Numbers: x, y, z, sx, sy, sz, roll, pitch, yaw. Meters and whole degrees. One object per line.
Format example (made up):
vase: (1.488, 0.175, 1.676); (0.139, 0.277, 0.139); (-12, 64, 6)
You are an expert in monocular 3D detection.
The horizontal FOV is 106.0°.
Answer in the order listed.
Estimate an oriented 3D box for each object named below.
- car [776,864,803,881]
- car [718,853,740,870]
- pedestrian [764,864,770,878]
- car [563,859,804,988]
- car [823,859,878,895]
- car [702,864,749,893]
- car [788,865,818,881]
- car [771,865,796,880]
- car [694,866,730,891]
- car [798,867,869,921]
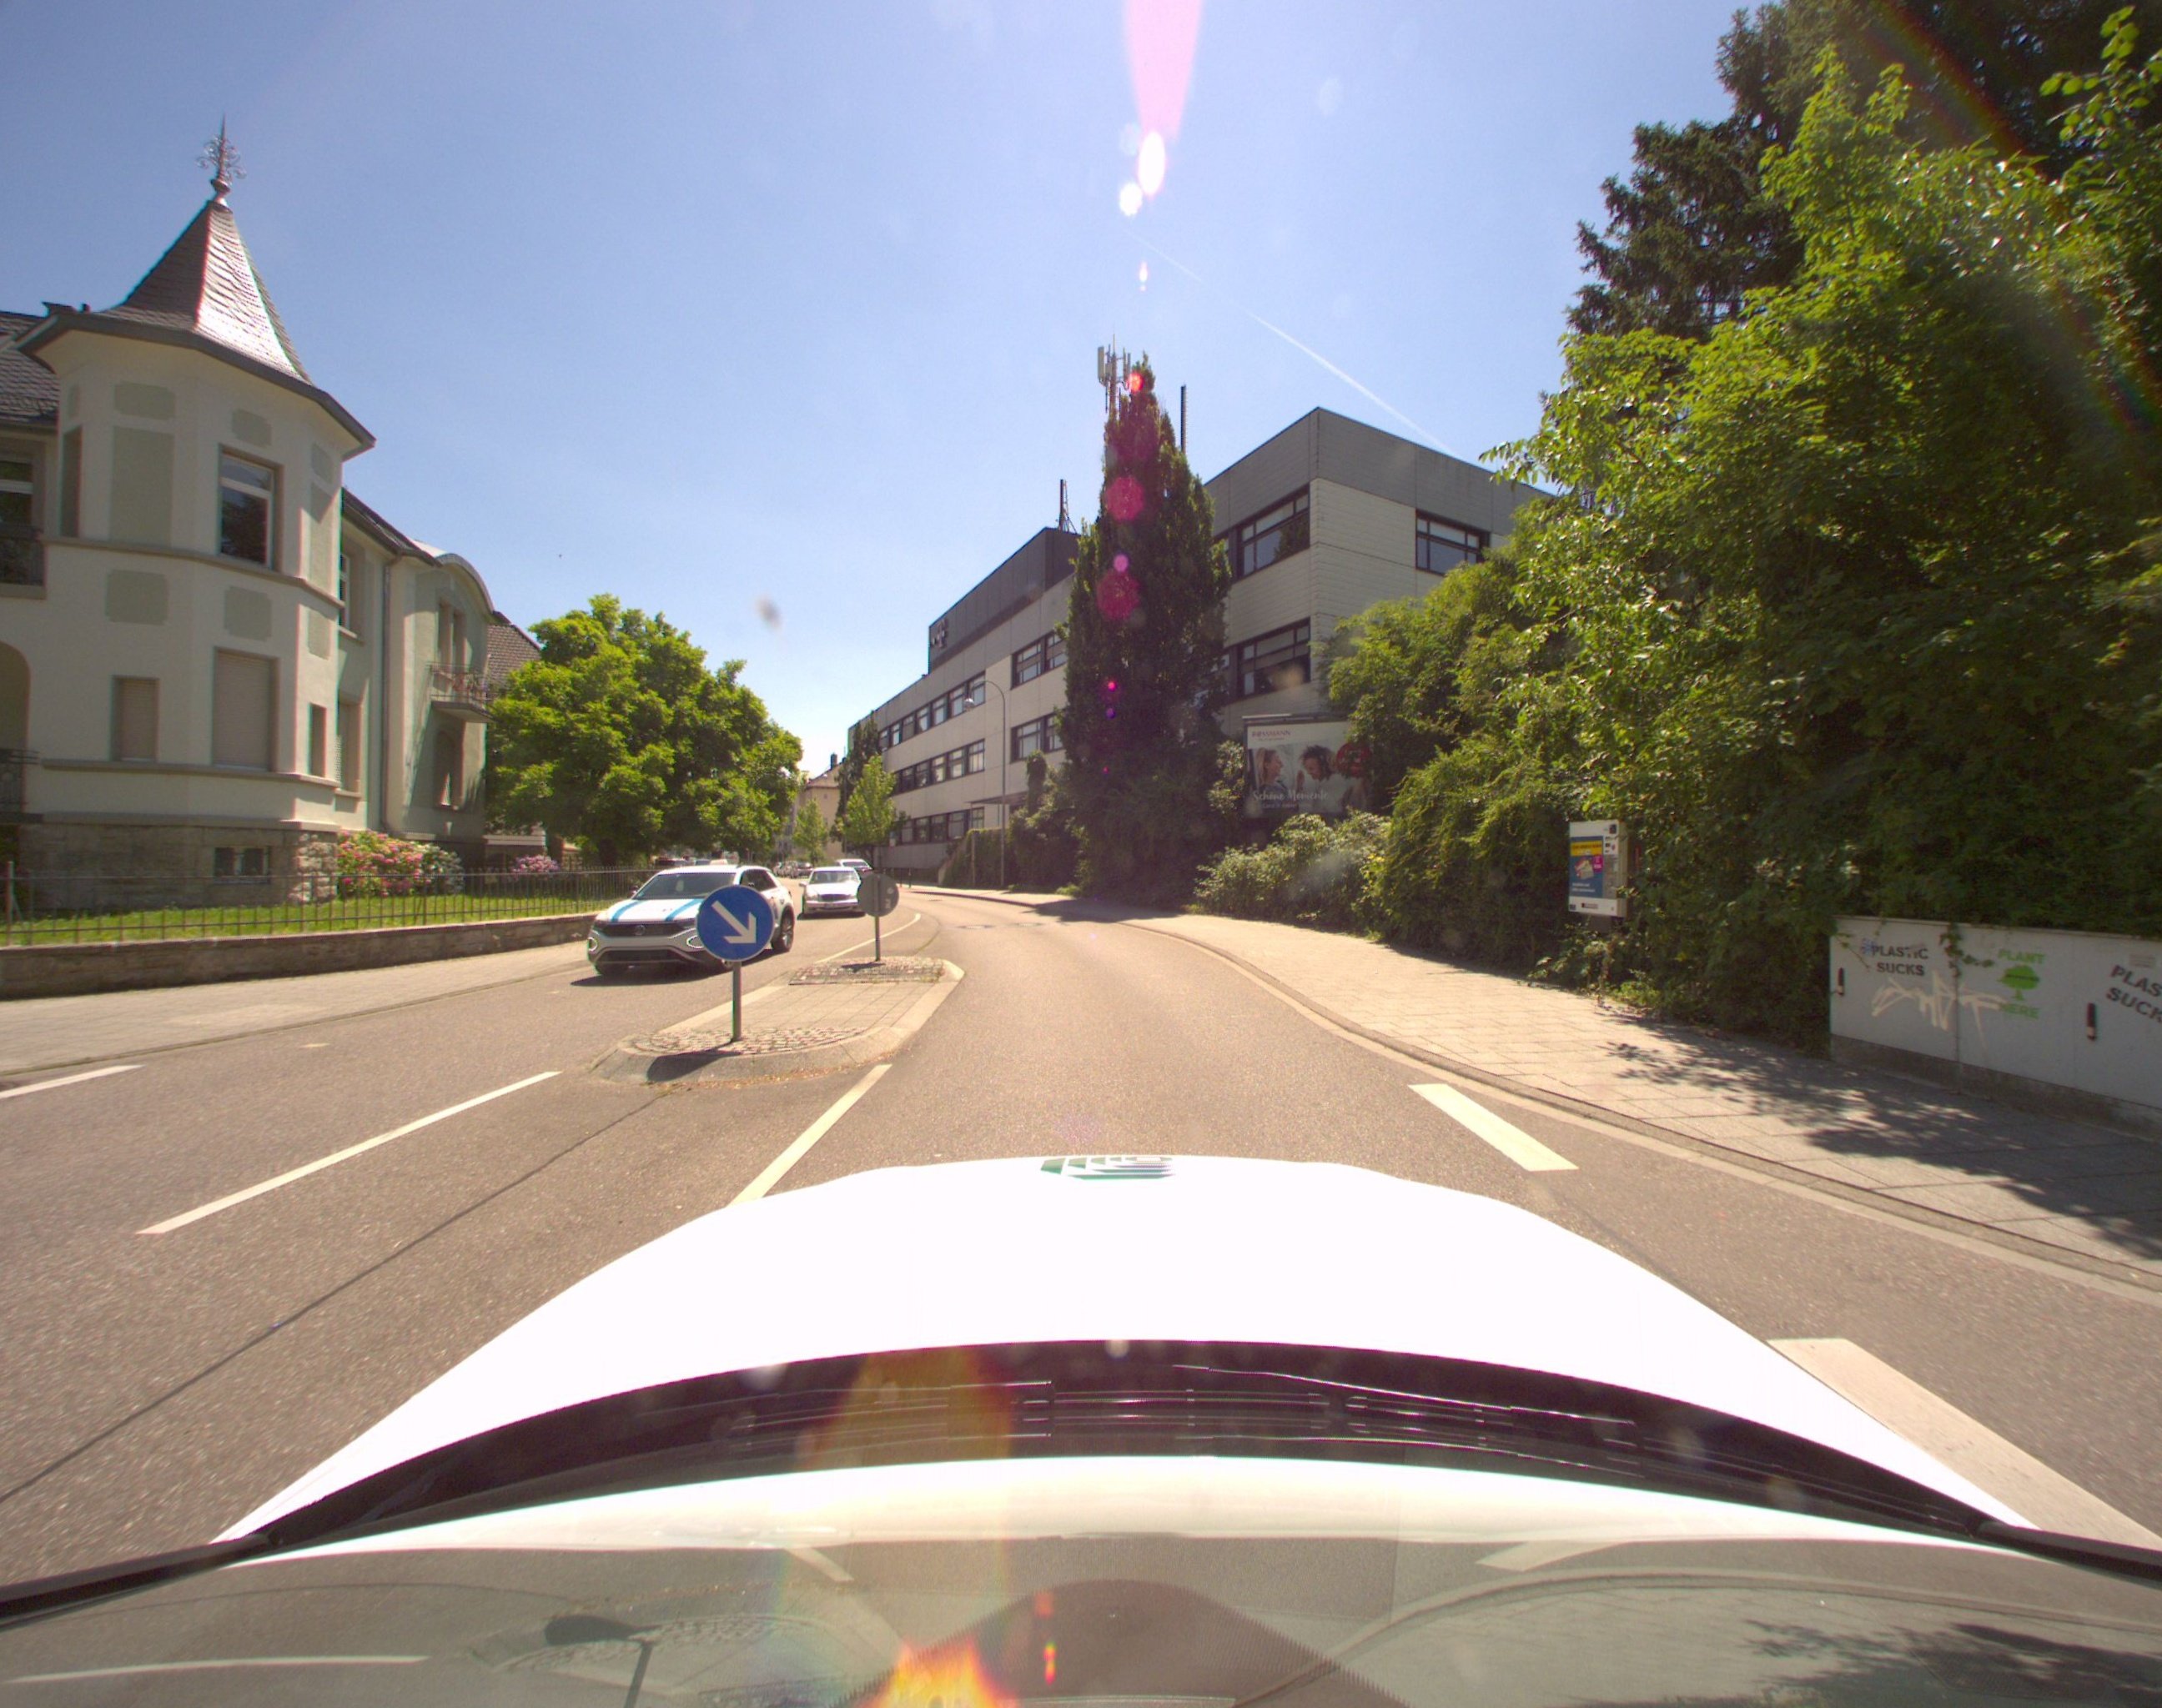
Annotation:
car: (-27.970, 1.746, 78.081); (1.669, 1.488, 4.305); (-1, 0, -29)
car: (-45.398, 0.974, 105.017); (2.083, 2.197, 5.089); (-2, 0, -30)
pedestrian: (-38.970, 2.074, 101.064); (0.642, 1.758, 0.610); (0, -1, -33)
car: (-5.955, 0.920, 12.881); (1.868, 1.623, 4.299); (0, 1, -3)
car: (-12.262, 1.183, 43.119); (1.947, 1.614, 4.433); (-6, 2, -26)
car: (-19.218, 1.299, 43.879); (1.936, 1.437, 4.616); (3, -2, -28)
car: (-24.949, 1.662, 73.029); (1.873, 1.373, 3.963); (0, -1, -29)
car: (-30.085, 1.845, 82.293); (1.736, 1.383, 4.360); (-1, 0, -29)
car: (-25.752, 1.692, 56.714); (1.936, 1.573, 4.616); (3, -2, -28)
car: (-7.347, 1.125, 24.521); (1.761, 1.435, 4.283); (-2, 0, -14)
